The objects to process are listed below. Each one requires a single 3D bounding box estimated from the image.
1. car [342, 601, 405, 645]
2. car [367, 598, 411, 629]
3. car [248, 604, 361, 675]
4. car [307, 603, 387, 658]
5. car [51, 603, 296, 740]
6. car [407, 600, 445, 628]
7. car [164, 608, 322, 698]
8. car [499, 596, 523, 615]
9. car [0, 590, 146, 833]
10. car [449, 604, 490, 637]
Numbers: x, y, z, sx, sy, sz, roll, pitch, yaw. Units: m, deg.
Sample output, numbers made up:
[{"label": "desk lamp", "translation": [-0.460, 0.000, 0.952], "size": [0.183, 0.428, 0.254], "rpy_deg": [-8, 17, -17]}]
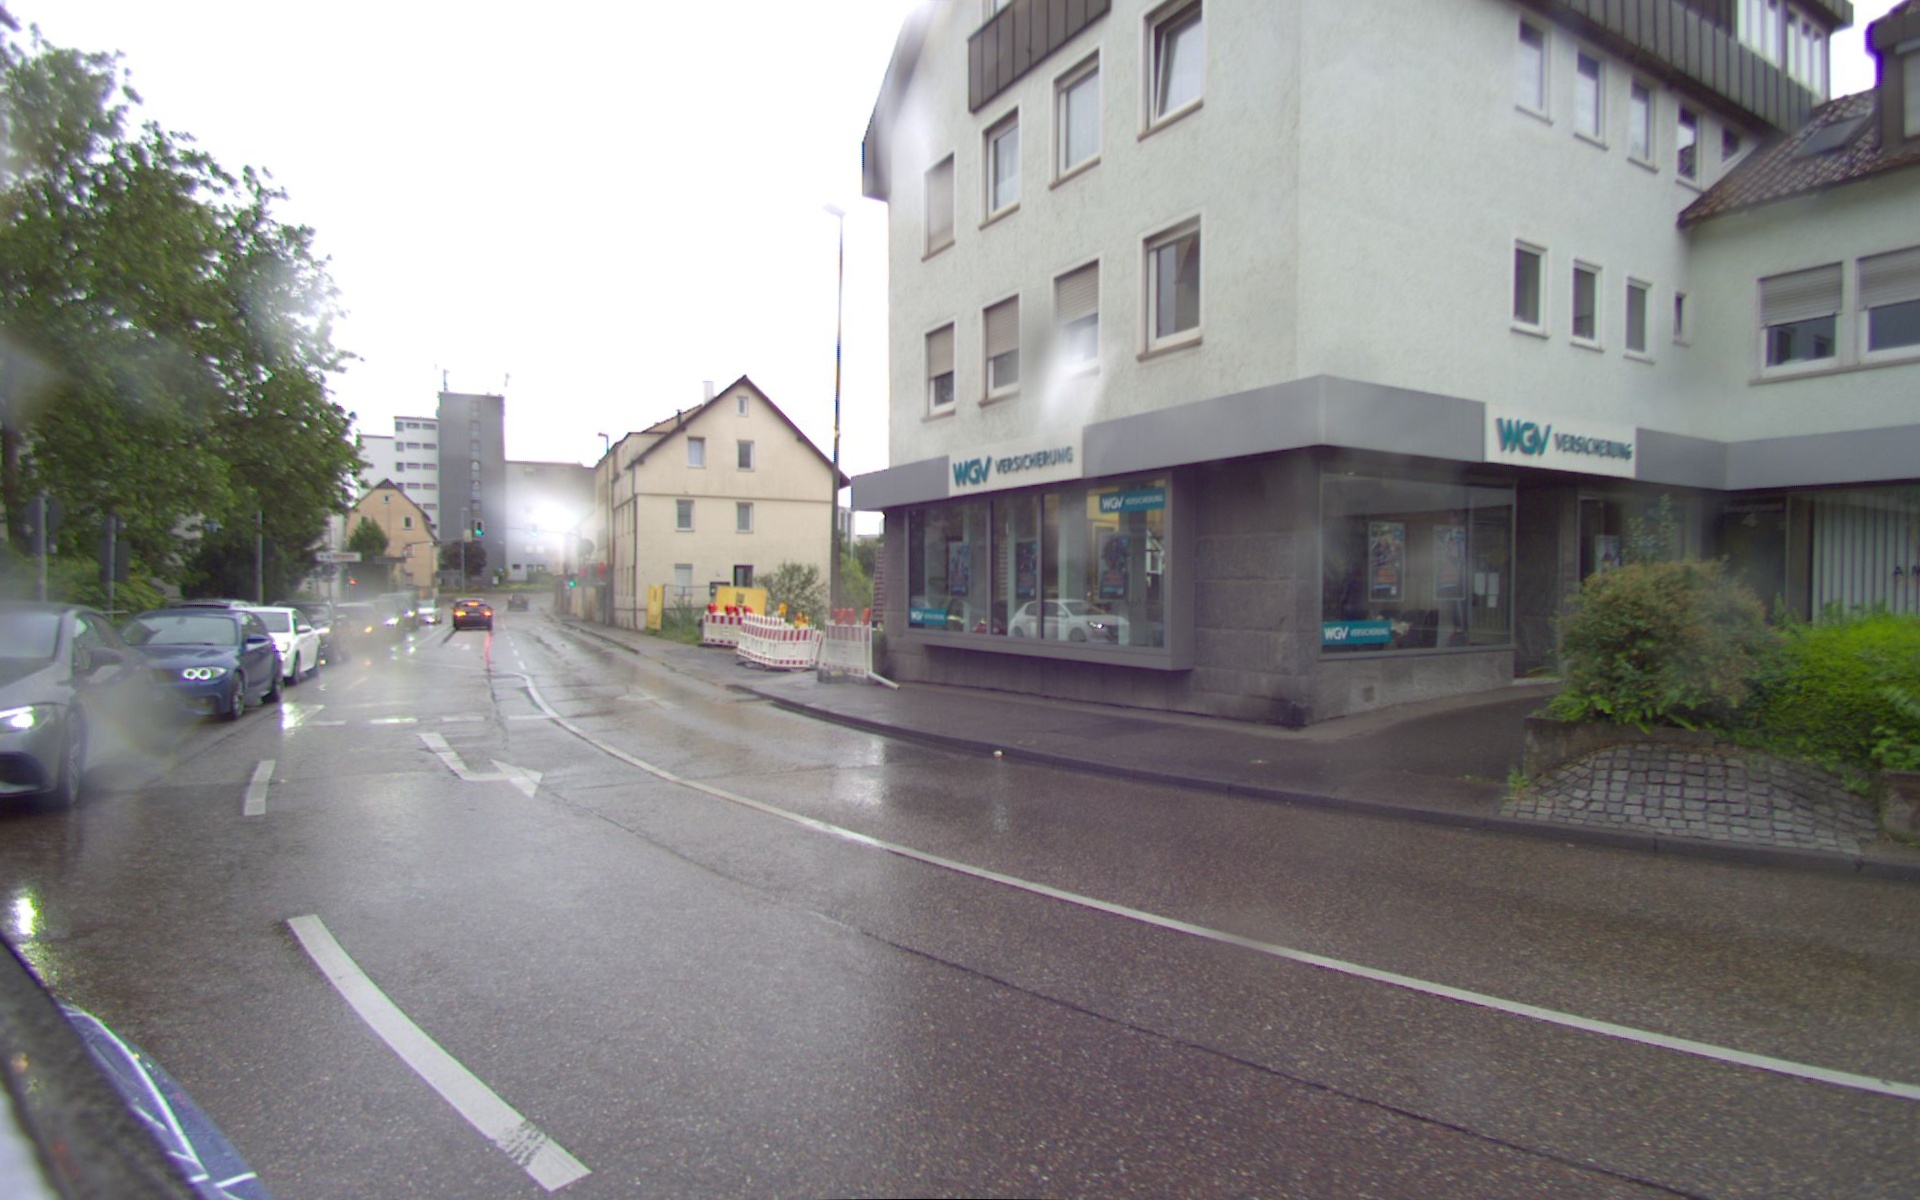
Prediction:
[{"label": "car", "translation": [-22.844, 0.851, 39.563], "size": [1.802, 1.563, 4.013], "rpy_deg": [-2, 0, -26]}, {"label": "car", "translation": [-28.682, 0.666, 50.897], "size": [1.822, 1.489, 4.013], "rpy_deg": [-1, 0, -28]}, {"label": "car", "translation": [-16.569, 0.933, 25.773], "size": [1.783, 1.577, 4.013], "rpy_deg": [-2, 0, -24]}, {"label": "car", "translation": [-19.614, 0.927, 32.532], "size": [1.814, 1.633, 4.013], "rpy_deg": [-1, 0, -26]}, {"label": "car", "translation": [-10.567, 0.826, 13.964], "size": [1.744, 1.544, 4.392], "rpy_deg": [-1, 0, -25]}, {"label": "car", "translation": [-33.106, 0.868, 62.660], "size": [1.966, 1.564, 4.012], "rpy_deg": [0, -2, -30]}, {"label": "car", "translation": [-13.668, 0.922, 19.539], "size": [1.966, 1.464, 4.013], "rpy_deg": [-2, 1, -28]}, {"label": "car", "translation": [-39.889, 0.490, 89.863], "size": [1.783, 1.577, 4.013], "rpy_deg": [-2, 0, -25]}, {"label": "car", "translation": [-7.730, 0.710, 7.678], "size": [1.966, 1.504, 4.326], "rpy_deg": [-1, 0, -33]}, {"label": "car", "translation": [-25.132, 1.019, 51.889], "size": [1.783, 1.577, 4.013], "rpy_deg": [-2, 0, -25]}]
